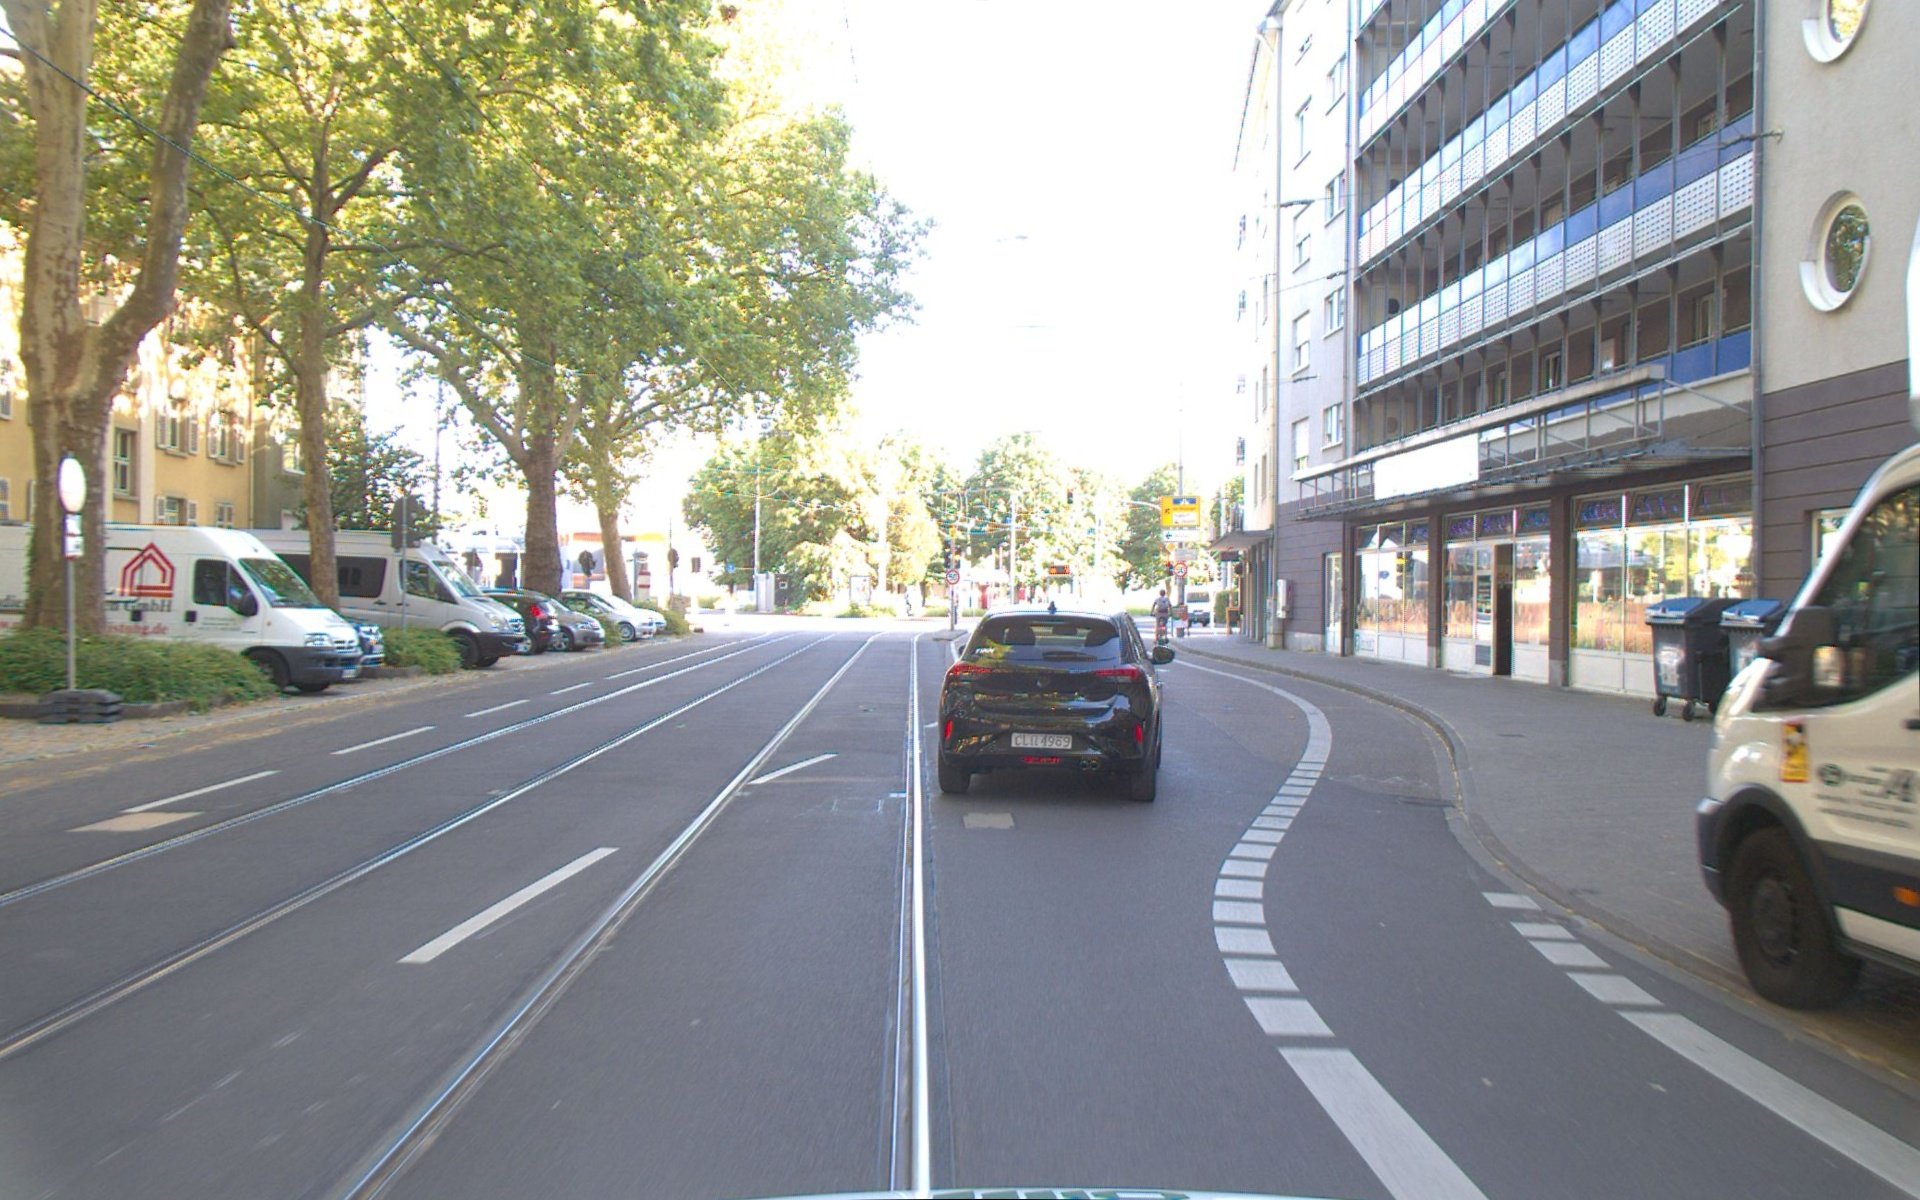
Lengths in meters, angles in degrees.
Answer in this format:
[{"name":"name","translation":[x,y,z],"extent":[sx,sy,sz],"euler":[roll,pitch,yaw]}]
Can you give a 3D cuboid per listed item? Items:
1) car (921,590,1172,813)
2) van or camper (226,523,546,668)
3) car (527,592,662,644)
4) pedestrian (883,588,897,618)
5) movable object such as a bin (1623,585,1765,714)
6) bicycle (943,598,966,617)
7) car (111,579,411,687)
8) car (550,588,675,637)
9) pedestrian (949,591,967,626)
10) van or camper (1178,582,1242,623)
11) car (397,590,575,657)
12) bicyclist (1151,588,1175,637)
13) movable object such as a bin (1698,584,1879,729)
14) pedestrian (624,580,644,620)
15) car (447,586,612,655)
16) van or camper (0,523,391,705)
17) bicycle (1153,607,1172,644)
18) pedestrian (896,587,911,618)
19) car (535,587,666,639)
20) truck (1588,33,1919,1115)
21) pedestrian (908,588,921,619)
[{"name":"car","translation":[0.834,0.697,13.636],"extent":[1.743,1.522,4.003],"euler":[1,1,7]},{"name":"van or camper","translation":[-11.487,-0.087,33.458],"extent":[5.607,2.690,2.269],"euler":[1,0,-1]},{"name":"car","translation":[-11.629,0.576,52.837],"extent":[3.905,1.541,1.649],"euler":[1,0,0]},{"name":"pedestrian","translation":[-4.387,0.174,103.815],"extent":[0.604,1.886,0.583],"euler":[1,0,26]},{"name":"movable object such as a bin","translation":[9.017,0.590,20.384],"extent":[1.088,1.510,1.387],"euler":[-2,0,-1]},{"name":"bicycle","translation":[-0.305,0.417,93.807],"extent":[0.771,1.009,2.245],"euler":[1,0,15]},{"name":"car","translation":[-11.335,0.521,27.080],"extent":[4.086,1.700,1.963],"euler":[0,0,-5]},{"name":"car","translation":[-12.223,0.441,58.378],"extent":[4.086,1.700,1.963],"euler":[0,0,-5]},{"name":"pedestrian","translation":[-0.071,0.347,66.105],"extent":[0.639,1.387,0.645],"euler":[0,0,5]},{"name":"van or camper","translation":[14.050,0.172,92.864],"extent":[2.127,2.183,4.498],"euler":[1,0,28]},{"name":"car","translation":[-11.761,0.579,41.215],"extent":[3.905,1.541,1.649],"euler":[1,0,0]},{"name":"bicyclist","translation":[6.110,0.374,49.805],"extent":[0.691,1.461,0.703],"euler":[0,0,10]},{"name":"movable object such as a bin","translation":[9.182,0.595,18.419],"extent":[1.162,1.510,1.594],"euler":[-2,0,-1]},{"name":"pedestrian","translation":[-18.669,0.010,94.717],"extent":[0.812,2.259,0.888],"euler":[2,0,-36]},{"name":"car","translation":[-11.371,0.534,43.843],"extent":[3.905,1.680,1.649],"euler":[1,0,0]},{"name":"van or camper","translation":[-11.445,0.181,24.167],"extent":[5.387,2.421,2.270],"euler":[1,0,2]},{"name":"bicycle","translation":[6.092,0.753,49.722],"extent":[0.497,1.086,1.566],"euler":[0,0,10]},{"name":"pedestrian","translation":[-3.560,0.145,104.313],"extent":[0.645,1.966,0.608],"euler":[1,0,30]},{"name":"car","translation":[-12.126,0.436,55.980],"extent":[4.086,1.700,1.963],"euler":[0,0,-5]},{"name":"truck","translation":[4.271,-0.095,4.112],"extent":[2.487,3.396,7.193],"euler":[-2,0,-1]},{"name":"pedestrian","translation":[-2.835,0.212,103.968],"extent":[0.604,1.886,0.584],"euler":[1,0,23]}]
